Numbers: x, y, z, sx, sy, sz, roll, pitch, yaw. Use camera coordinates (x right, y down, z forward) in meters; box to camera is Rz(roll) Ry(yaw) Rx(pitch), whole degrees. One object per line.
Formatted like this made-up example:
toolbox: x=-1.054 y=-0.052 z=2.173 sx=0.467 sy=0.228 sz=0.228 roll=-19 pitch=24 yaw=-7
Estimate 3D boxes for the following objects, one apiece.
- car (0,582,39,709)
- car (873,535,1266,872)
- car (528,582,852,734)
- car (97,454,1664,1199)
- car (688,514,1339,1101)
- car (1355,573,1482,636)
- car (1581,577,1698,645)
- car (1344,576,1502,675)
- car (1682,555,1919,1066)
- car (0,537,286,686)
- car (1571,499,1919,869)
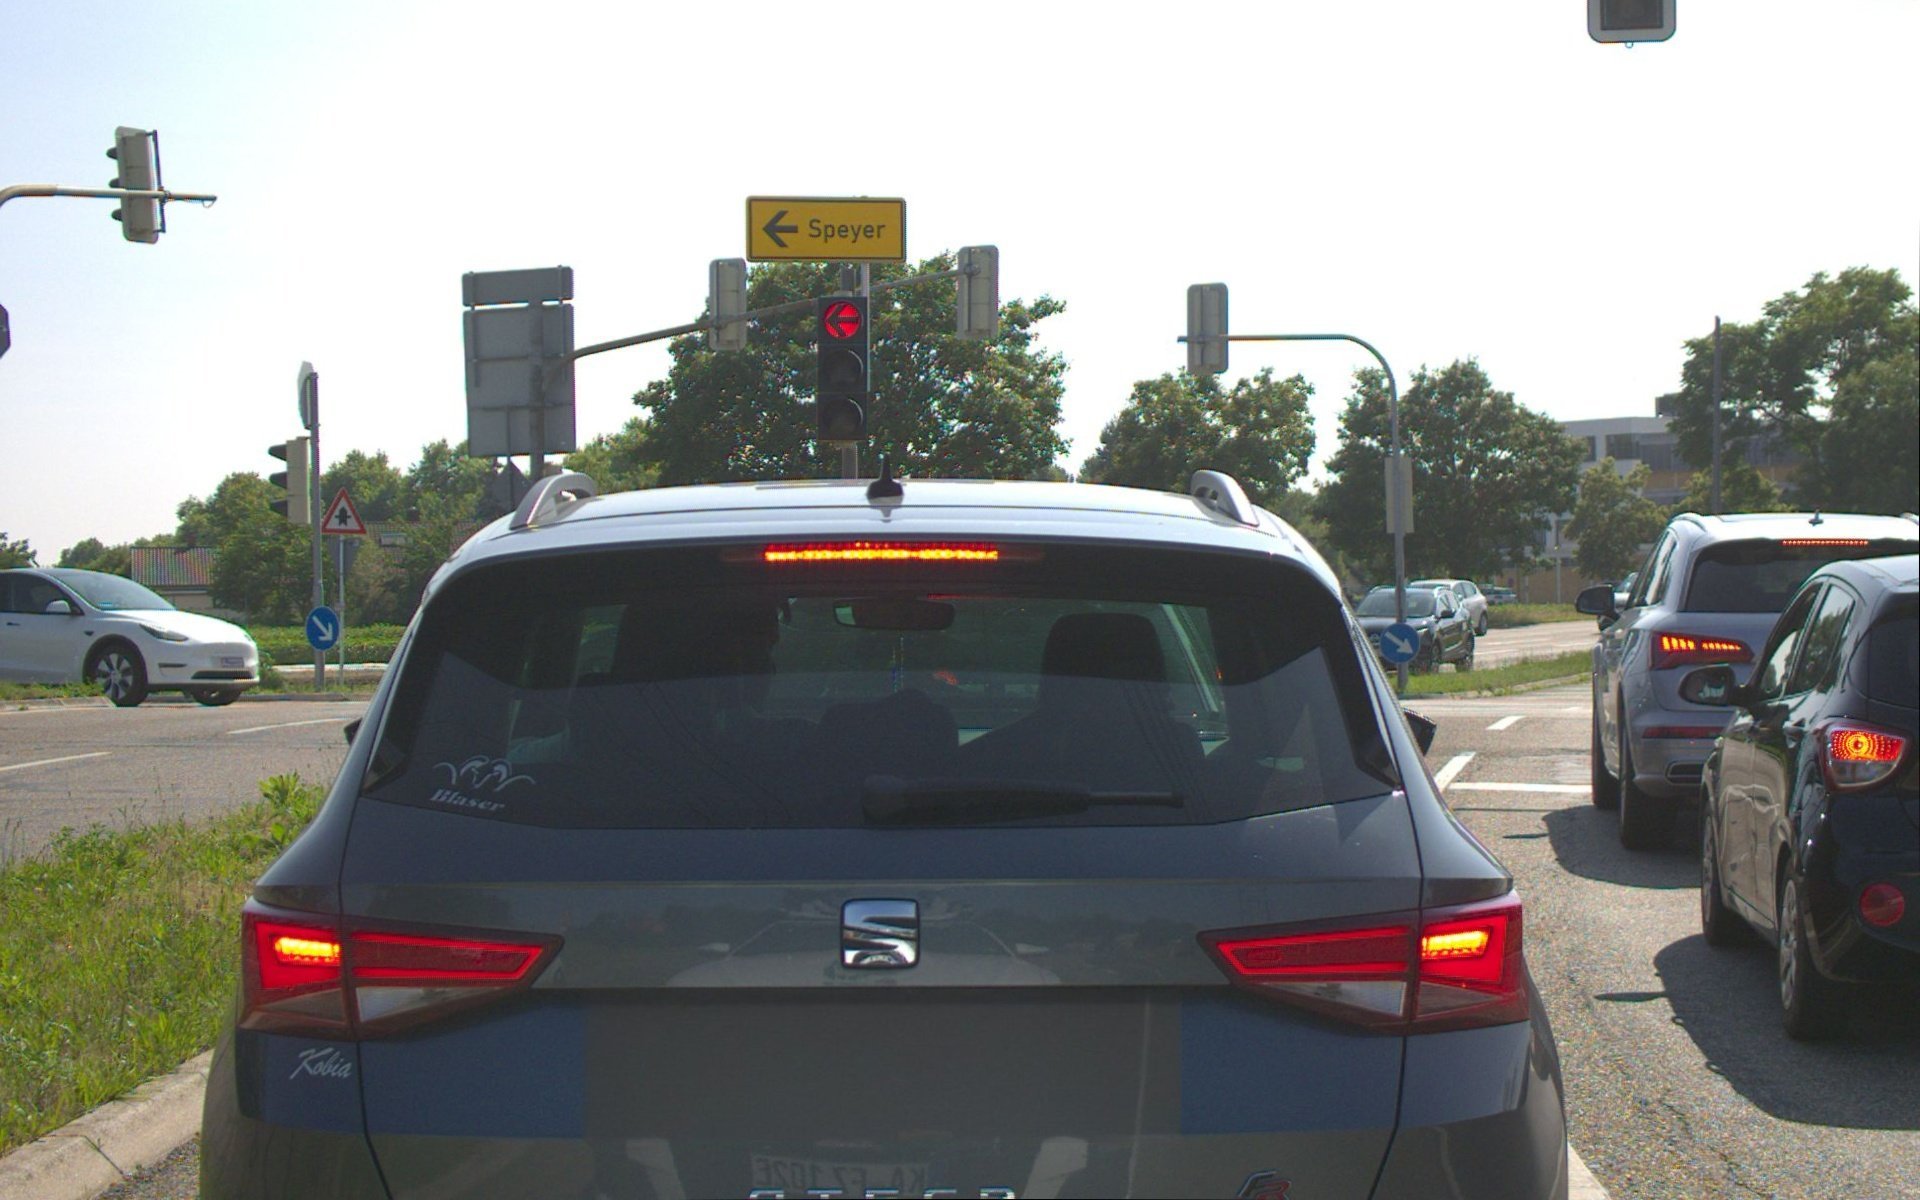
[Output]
car: x=-14.371 y=0.613 z=45.566 sx=3.993 sy=1.645 sz=1.817 roll=0 pitch=0 yaw=28
car: x=0.640 y=0.450 z=17.275 sx=1.742 sy=1.479 sz=3.623 roll=1 pitch=0 yaw=5
car: x=-3.609 y=0.744 z=45.855 sx=4.013 sy=1.946 sz=1.693 roll=0 pitch=0 yaw=27
car: x=-0.115 y=0.618 z=5.668 sx=1.742 sy=1.563 sz=3.624 roll=1 pitch=0 yaw=-1
car: x=0.155 y=0.548 z=11.154 sx=1.742 sy=1.563 sz=3.624 roll=1 pitch=0 yaw=0
car: x=11.335 y=0.109 z=84.875 sx=1.721 sy=1.492 sz=3.763 roll=1 pitch=1 yaw=31
car: x=17.462 y=0.269 z=88.241 sx=1.880 sy=1.667 sz=3.764 roll=1 pitch=1 yaw=28
car: x=8.350 y=0.437 z=61.767 sx=1.879 sy=1.667 sz=3.765 roll=1 pitch=1 yaw=22
car: x=3.386 y=0.583 z=11.343 sx=1.633 sy=1.443 sz=3.294 roll=1 pitch=1 yaw=6
car: x=-10.303 y=0.130 z=39.945 sx=4.753 sy=1.645 sz=1.817 roll=0 pitch=0 yaw=28
car: x=4.087 y=0.364 z=17.570 sx=1.633 sy=1.671 sz=3.749 roll=1 pitch=1 yaw=6
